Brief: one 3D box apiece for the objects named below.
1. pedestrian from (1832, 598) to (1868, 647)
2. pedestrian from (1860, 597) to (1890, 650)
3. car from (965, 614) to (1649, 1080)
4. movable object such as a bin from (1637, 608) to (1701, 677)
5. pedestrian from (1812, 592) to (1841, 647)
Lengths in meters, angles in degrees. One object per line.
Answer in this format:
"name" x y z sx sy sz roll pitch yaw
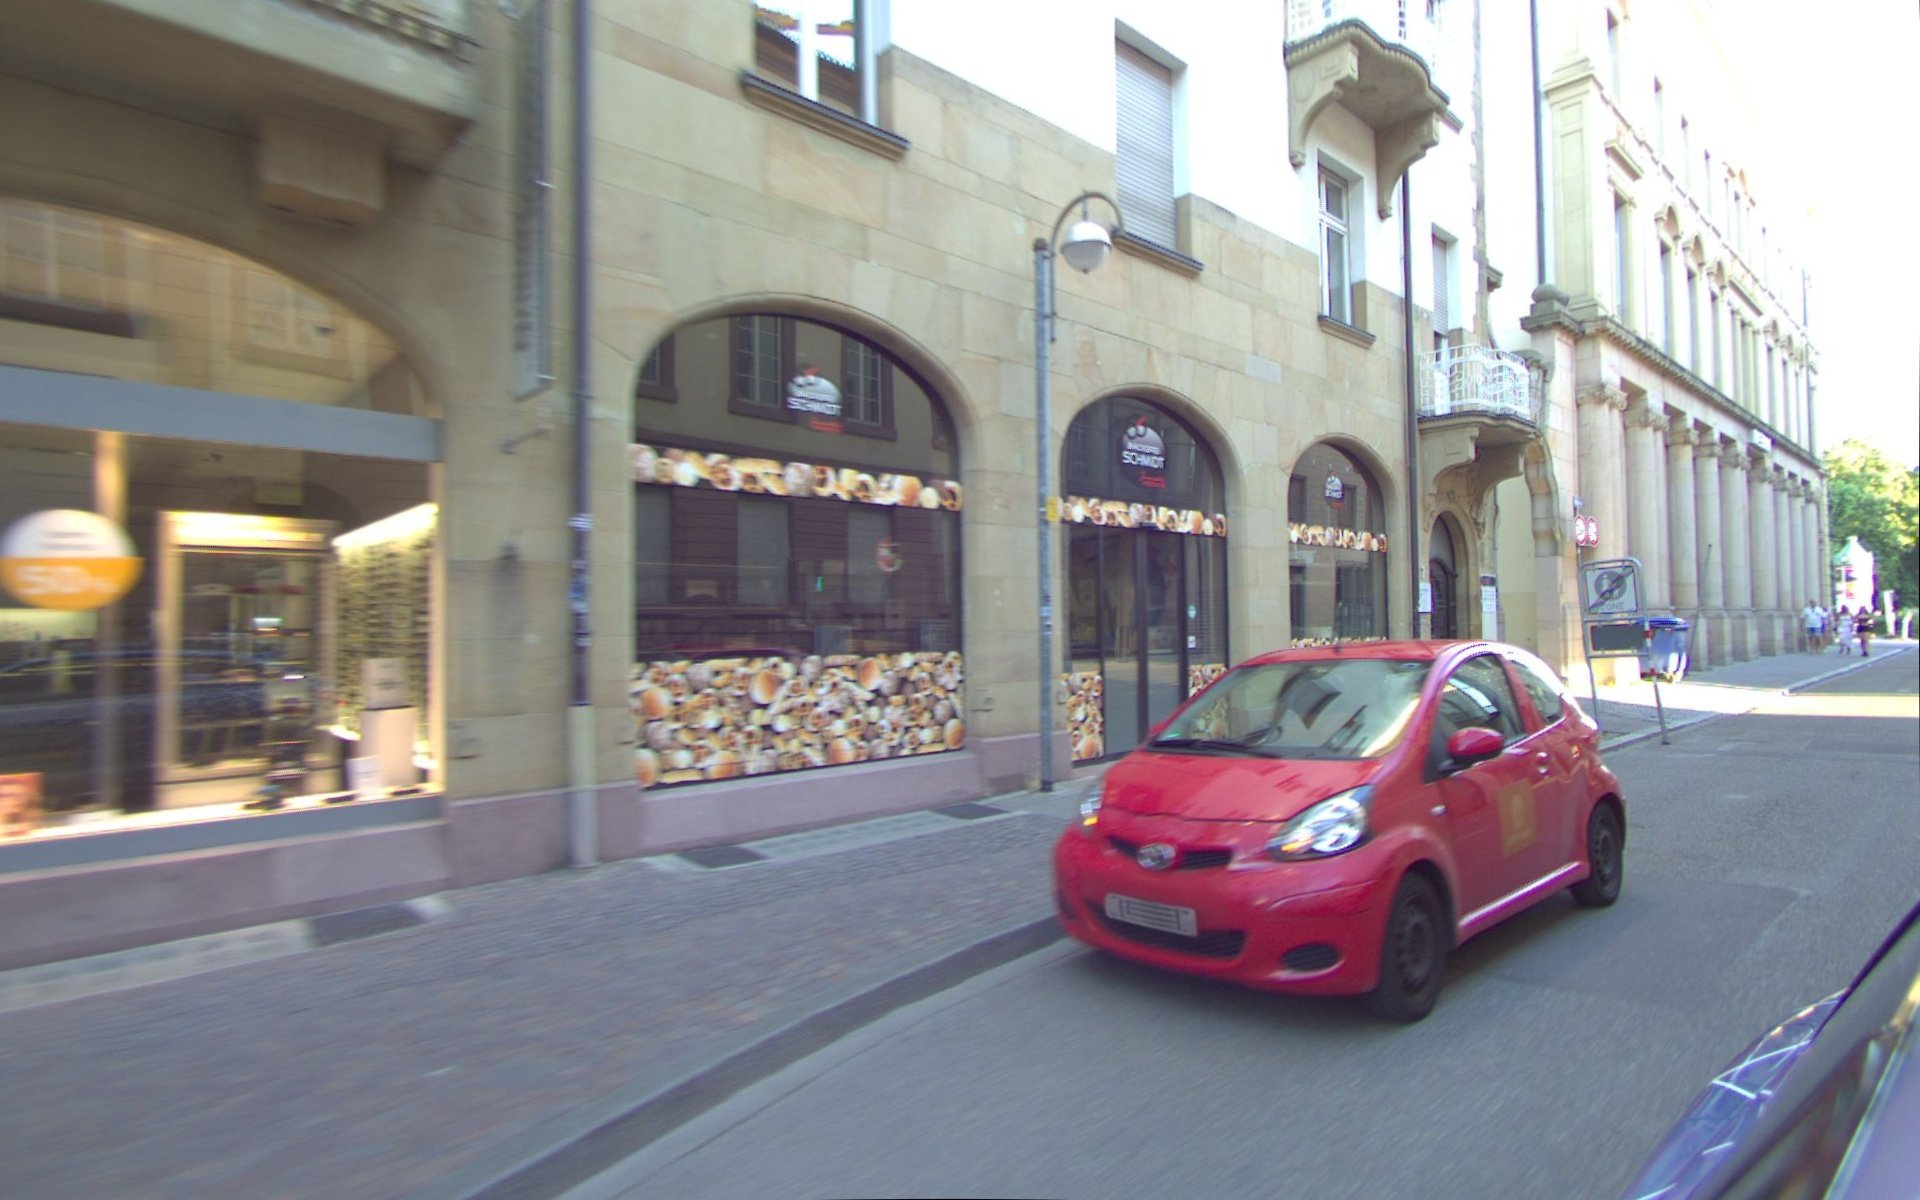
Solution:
"pedestrian" 30.408 0.752 34.575 0.909 1.618 0.854 1 1 -45
"pedestrian" 29.953 0.751 33.117 0.746 1.673 0.647 1 1 -45
"car" 1.910 0.878 5.061 3.535 1.444 1.615 0 -5 -42
"movable object such as a bin" 15.011 0.873 21.426 1.119 1.392 0.897 0 1 -44
"pedestrian" 29.151 0.656 34.030 0.746 1.801 0.647 1 1 -45
